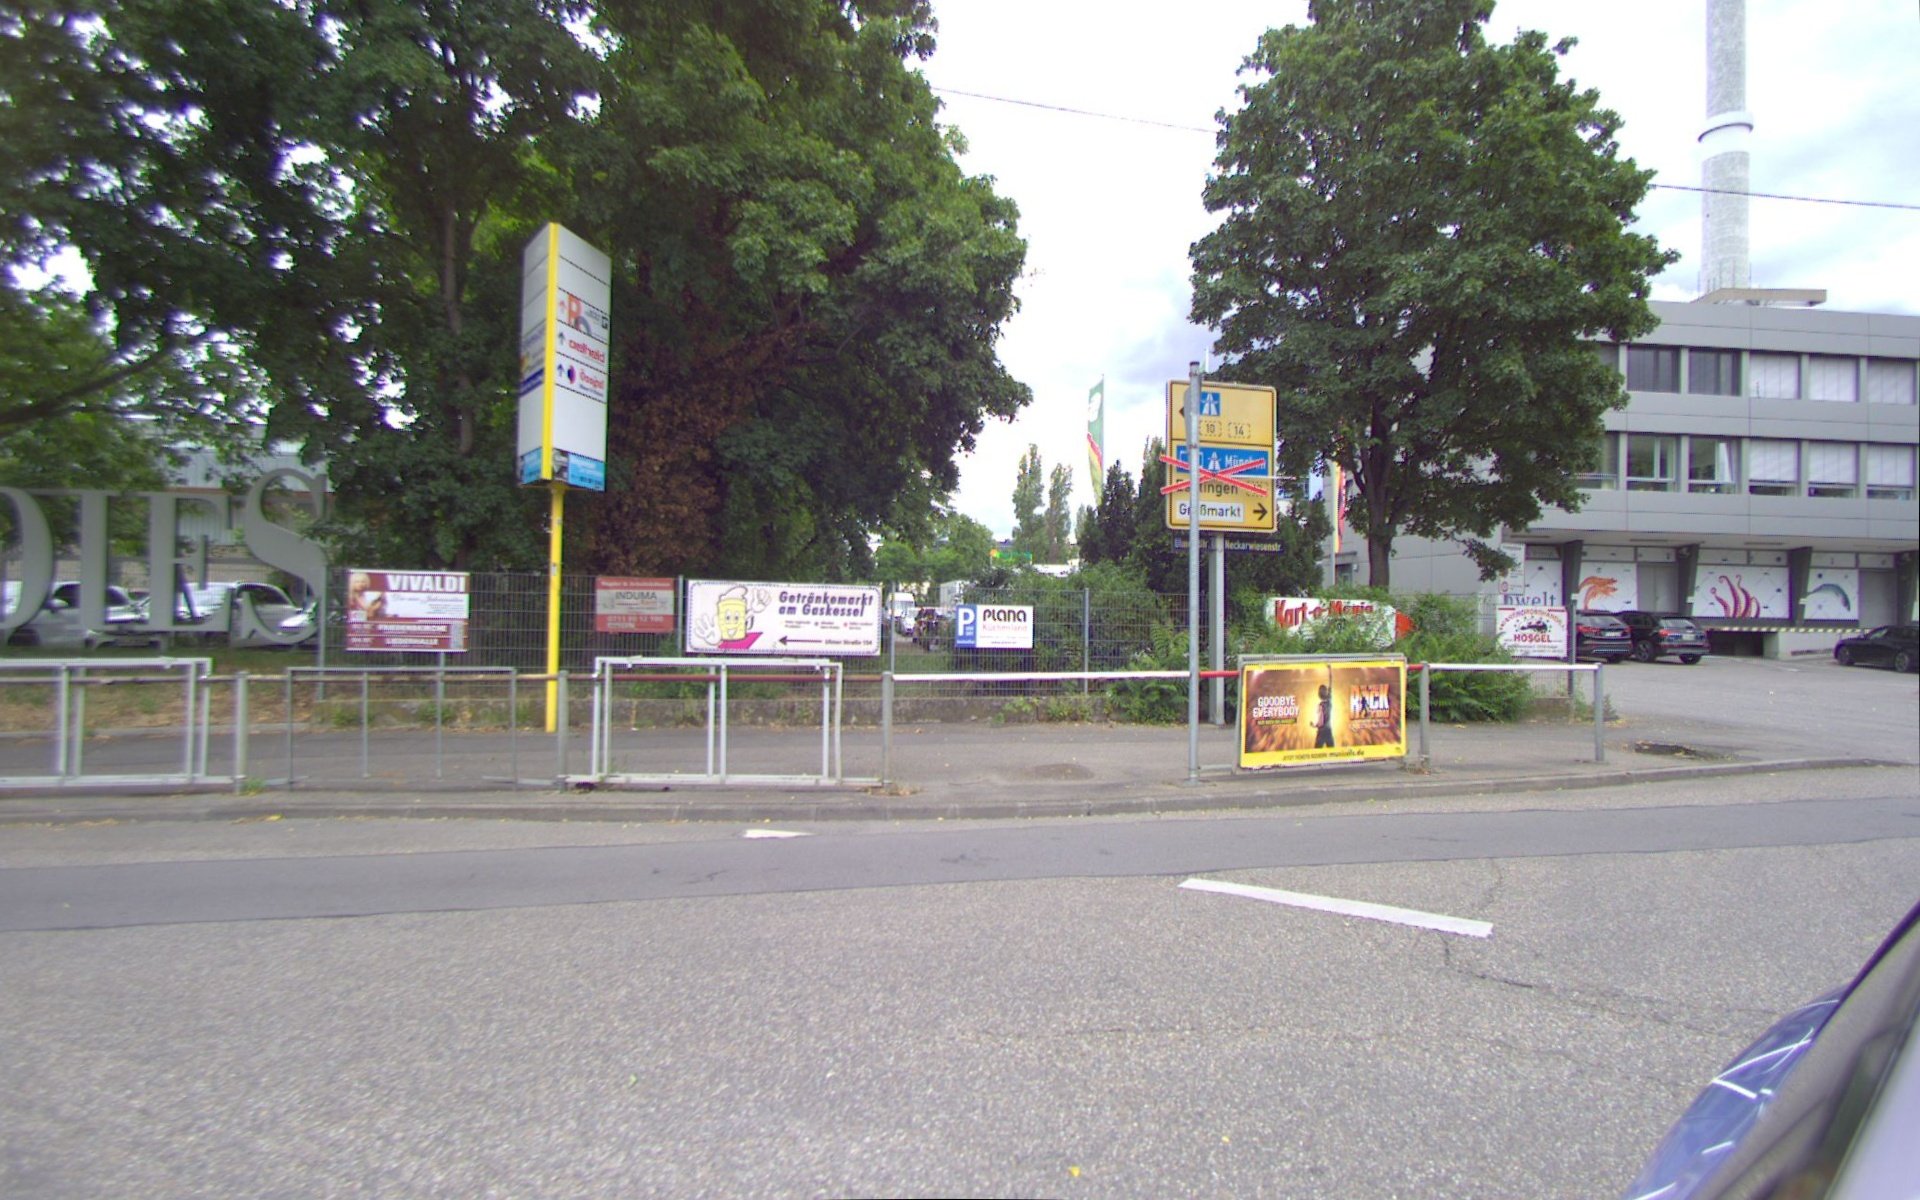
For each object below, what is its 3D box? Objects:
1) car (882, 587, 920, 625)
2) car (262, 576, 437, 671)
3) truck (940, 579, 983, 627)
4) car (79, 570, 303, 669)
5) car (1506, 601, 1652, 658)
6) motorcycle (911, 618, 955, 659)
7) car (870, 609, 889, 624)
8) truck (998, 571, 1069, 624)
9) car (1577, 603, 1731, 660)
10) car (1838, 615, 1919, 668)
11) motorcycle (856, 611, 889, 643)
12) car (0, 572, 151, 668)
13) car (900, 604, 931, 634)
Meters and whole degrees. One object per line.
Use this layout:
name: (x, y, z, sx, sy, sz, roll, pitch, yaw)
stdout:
car: (-4.280, 0.447, 72.530, 2.263, 2.511, 6.934, 1, -1, -7)
car: (-11.573, 0.449, 19.479, 1.559, 1.634, 4.006, 1, -1, -11)
truck: (0.028, 0.260, 93.659, 2.939, 4.219, 9.199, 1, 0, -6)
car: (-14.182, 0.369, 19.008, 1.559, 1.634, 4.324, 1, -1, -11)
car: (20.331, 0.927, 33.481, 1.802, 1.638, 4.469, 1, 1, -4)
motorcycle: (-0.797, 1.074, 28.732, 0.996, 1.102, 2.100, 1, -1, -8)
car: (-8.112, 1.678, 101.616, 1.564, 1.459, 3.666, 1, -1, -10)
truck: (5.912, -0.159, 85.044, 2.794, 3.983, 15.748, 1, -1, -7)
car: (23.082, 0.997, 33.906, 1.802, 1.638, 4.428, 1, 1, -5)
car: (31.146, 1.345, 32.771, 2.020, 1.463, 4.811, 1, 1, 13)
motorcycle: (-3.485, 1.061, 40.224, 0.995, 1.190, 2.101, 1, -1, -13)
car: (-17.513, 0.354, 18.781, 1.845, 1.634, 4.531, 1, -1, -9)
car: (-2.441, 1.004, 54.858, 1.566, 1.532, 3.808, 1, -1, -4)
